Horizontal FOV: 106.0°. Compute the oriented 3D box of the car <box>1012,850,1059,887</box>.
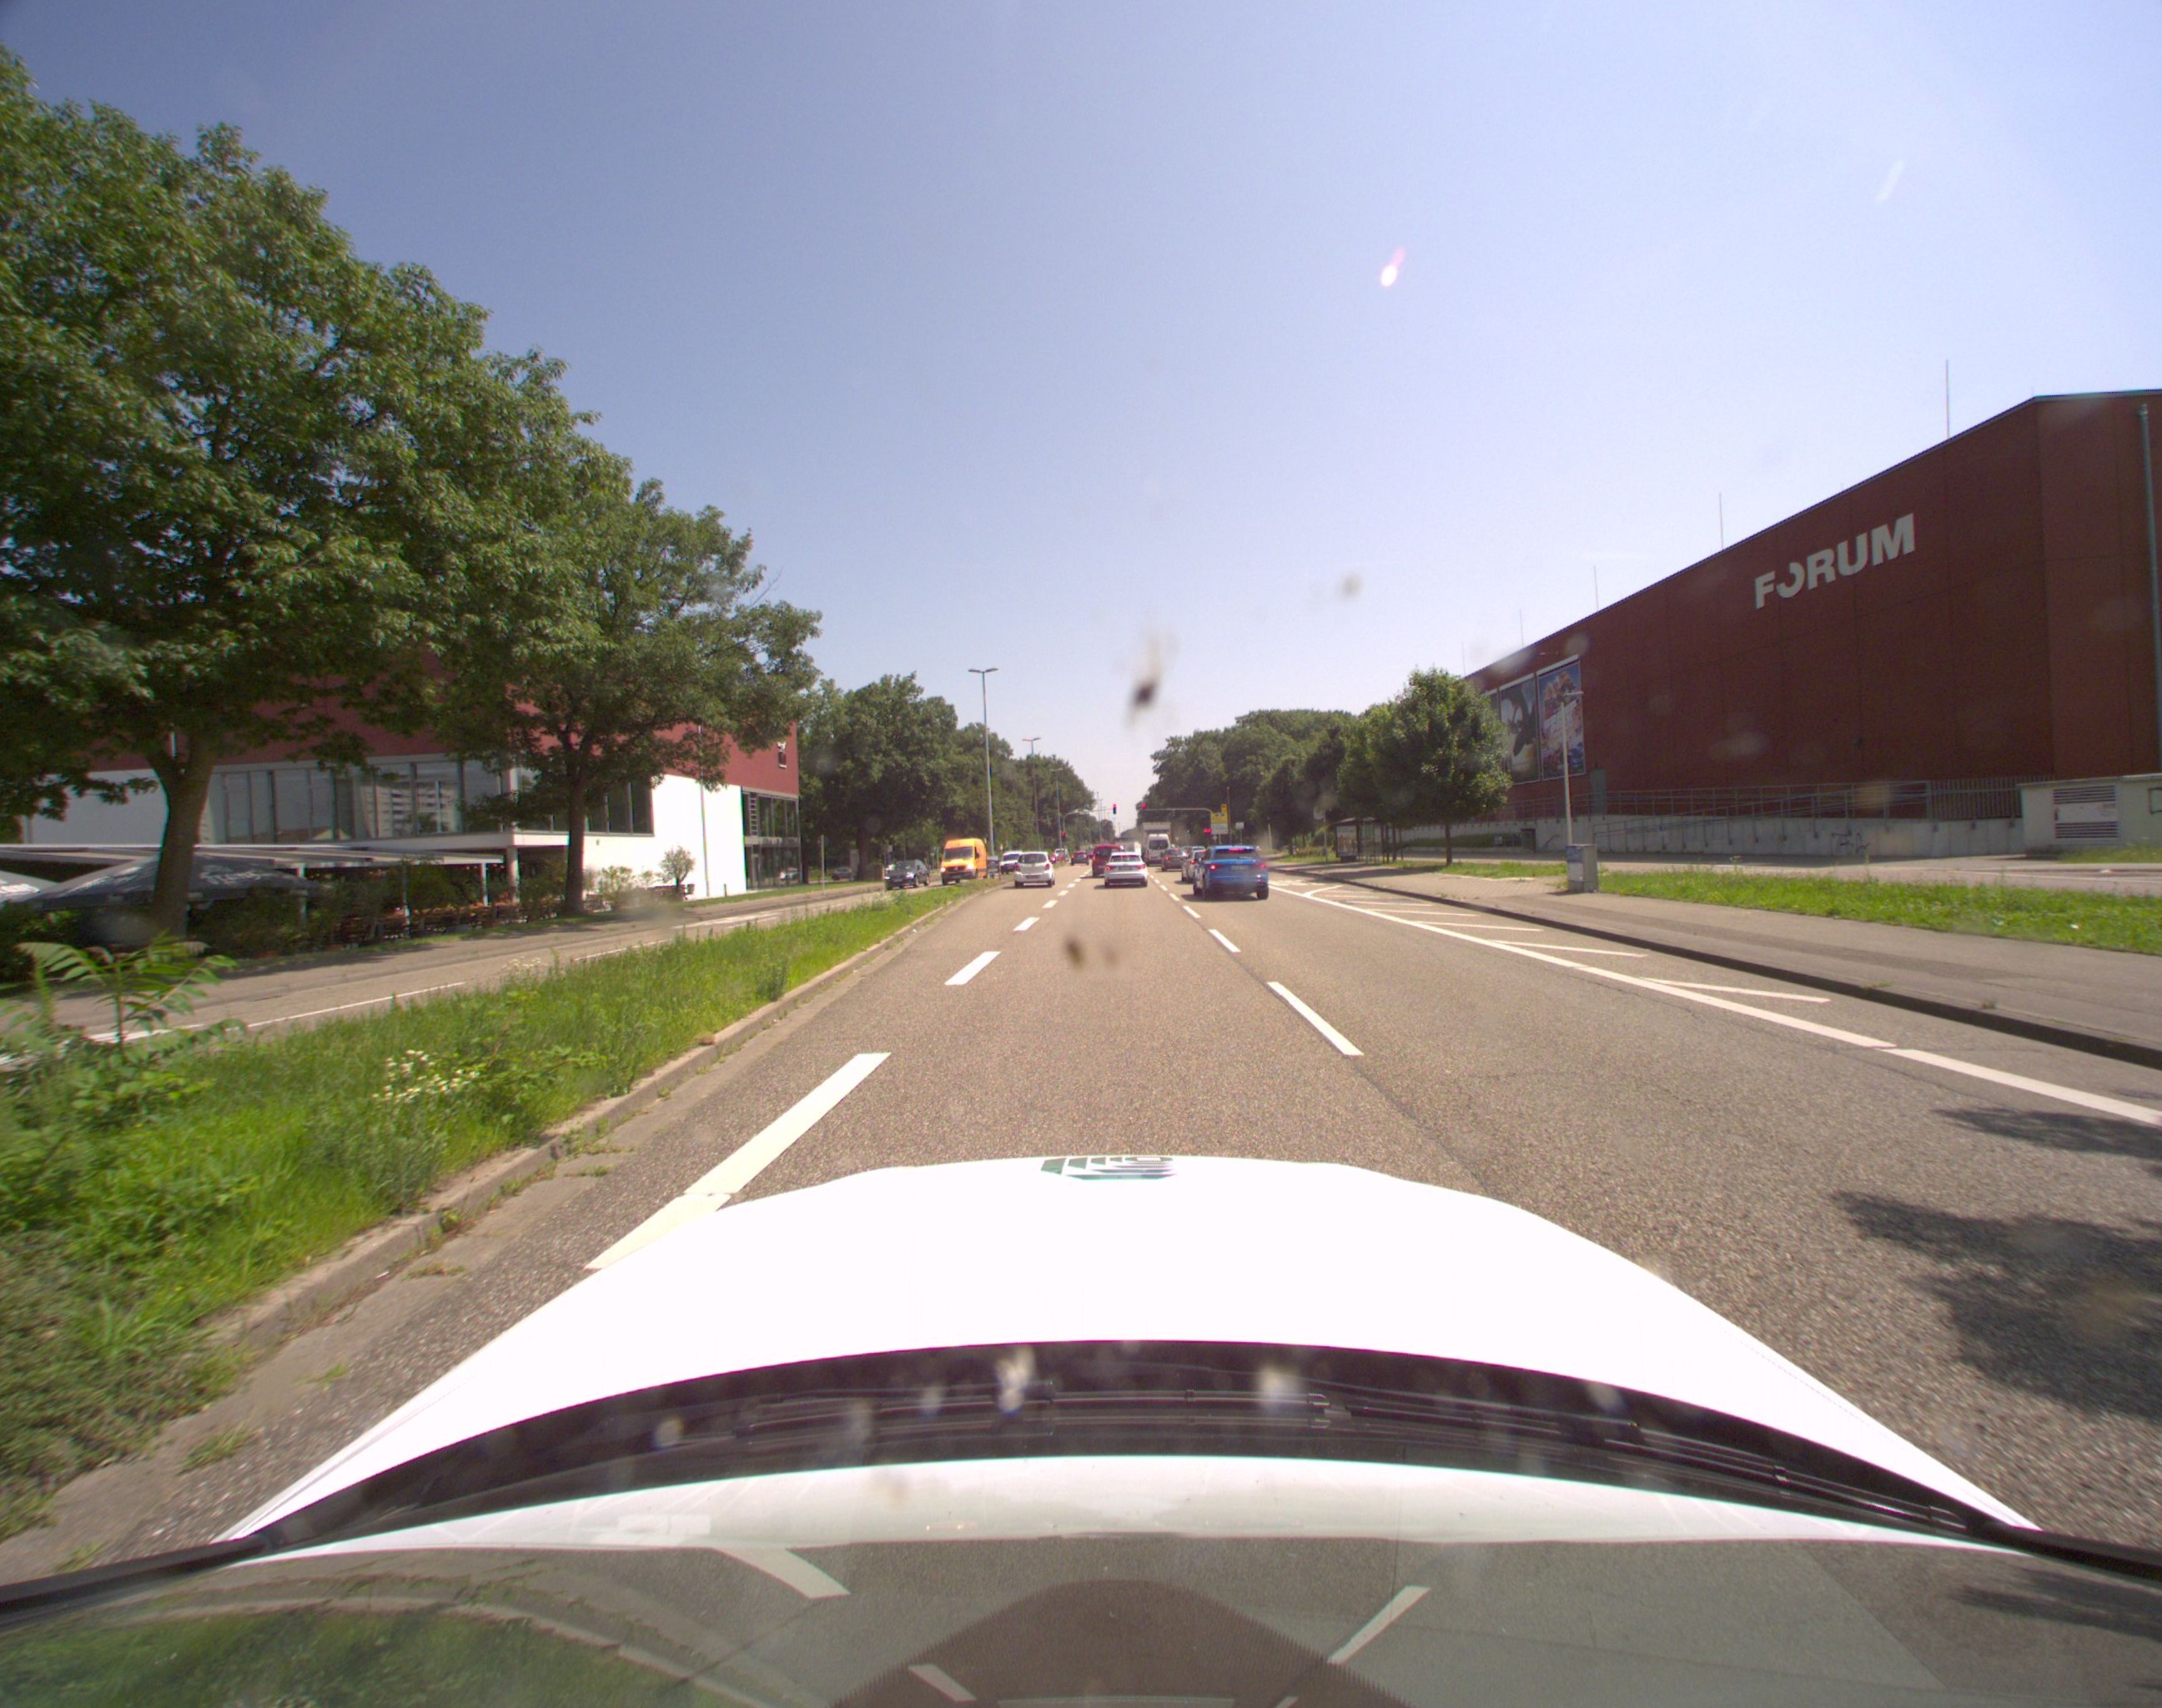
[{"bbox_3d":[-1.957,0.582,35.970,1.705,1.492,4.093,-2,0,1],"label":"car"}]

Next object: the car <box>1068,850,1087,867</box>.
[{"bbox_3d":[-0.307,0.442,83.357,1.768,1.641,4.038,-2,0,1],"label":"car"}]

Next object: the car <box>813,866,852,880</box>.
[{"bbox_3d":[-31.372,2.346,102.958,4.368,1.681,1.805,-1,-1,-9],"label":"car"}]

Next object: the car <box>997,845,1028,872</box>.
[{"bbox_3d":[-5.514,0.349,65.874,1.845,1.905,4.428,-6,0,2],"label":"car"}]

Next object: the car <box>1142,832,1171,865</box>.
[{"bbox_3d":[6.308,-0.475,68.516,2.023,2.644,4.848,-2,0,2],"label":"car"}]

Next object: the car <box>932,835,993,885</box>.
[{"bbox_3d":[-6.847,0.307,47.908,2.256,2.567,6.061,-5,0,2],"label":"car"}]

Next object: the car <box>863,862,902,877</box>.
[{"bbox_3d":[-24.200,1.884,99.407,4.364,1.681,1.807,-1,-1,-5],"label":"car"}]

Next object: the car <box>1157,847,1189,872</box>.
[{"bbox_3d":[5.923,0.333,52.698,1.705,1.478,4.093,1,0,1],"label":"car"}]

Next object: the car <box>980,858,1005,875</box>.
[{"bbox_3d":[-8.685,1.244,80.433,1.742,1.451,4.136,-5,0,2],"label":"car"}]

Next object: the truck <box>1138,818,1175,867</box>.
[{"bbox_3d":[7.234,-1.070,79.897,3.075,4.433,11.589,-2,0,3],"label":"truck"}]

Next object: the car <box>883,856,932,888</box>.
[{"bbox_3d":[-10.229,1.050,48.282,1.709,1.603,4.216,-6,0,2],"label":"car"}]

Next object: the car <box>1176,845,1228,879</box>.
[{"bbox_3d":[5.213,0.338,35.512,1.705,1.362,4.093,-1,0,1],"label":"car"}]

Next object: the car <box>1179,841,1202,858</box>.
[{"bbox_3d":[10.210,-0.425,76.206,1.705,1.546,4.093,-2,0,1],"label":"car"}]

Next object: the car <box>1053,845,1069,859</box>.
[{"bbox_3d":[-2.993,-0.312,123.559,1.986,1.945,4.910,-5,0,2],"label":"car"}]

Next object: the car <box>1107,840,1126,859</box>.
[{"bbox_3d":[3.232,-0.438,74.766,1.705,1.631,4.093,-2,0,1],"label":"car"}]

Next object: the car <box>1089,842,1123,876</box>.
[{"bbox_3d":[1.390,0.262,45.438,1.705,1.748,4.093,-2,0,1],"label":"car"}]

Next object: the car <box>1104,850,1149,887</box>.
[{"bbox_3d":[1.839,0.563,33.766,1.705,1.386,4.093,-2,0,1],"label":"car"}]

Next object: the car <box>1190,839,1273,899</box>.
[{"bbox_3d":[4.465,0.410,24.757,1.830,1.595,4.402,-2,0,2],"label":"car"}]
